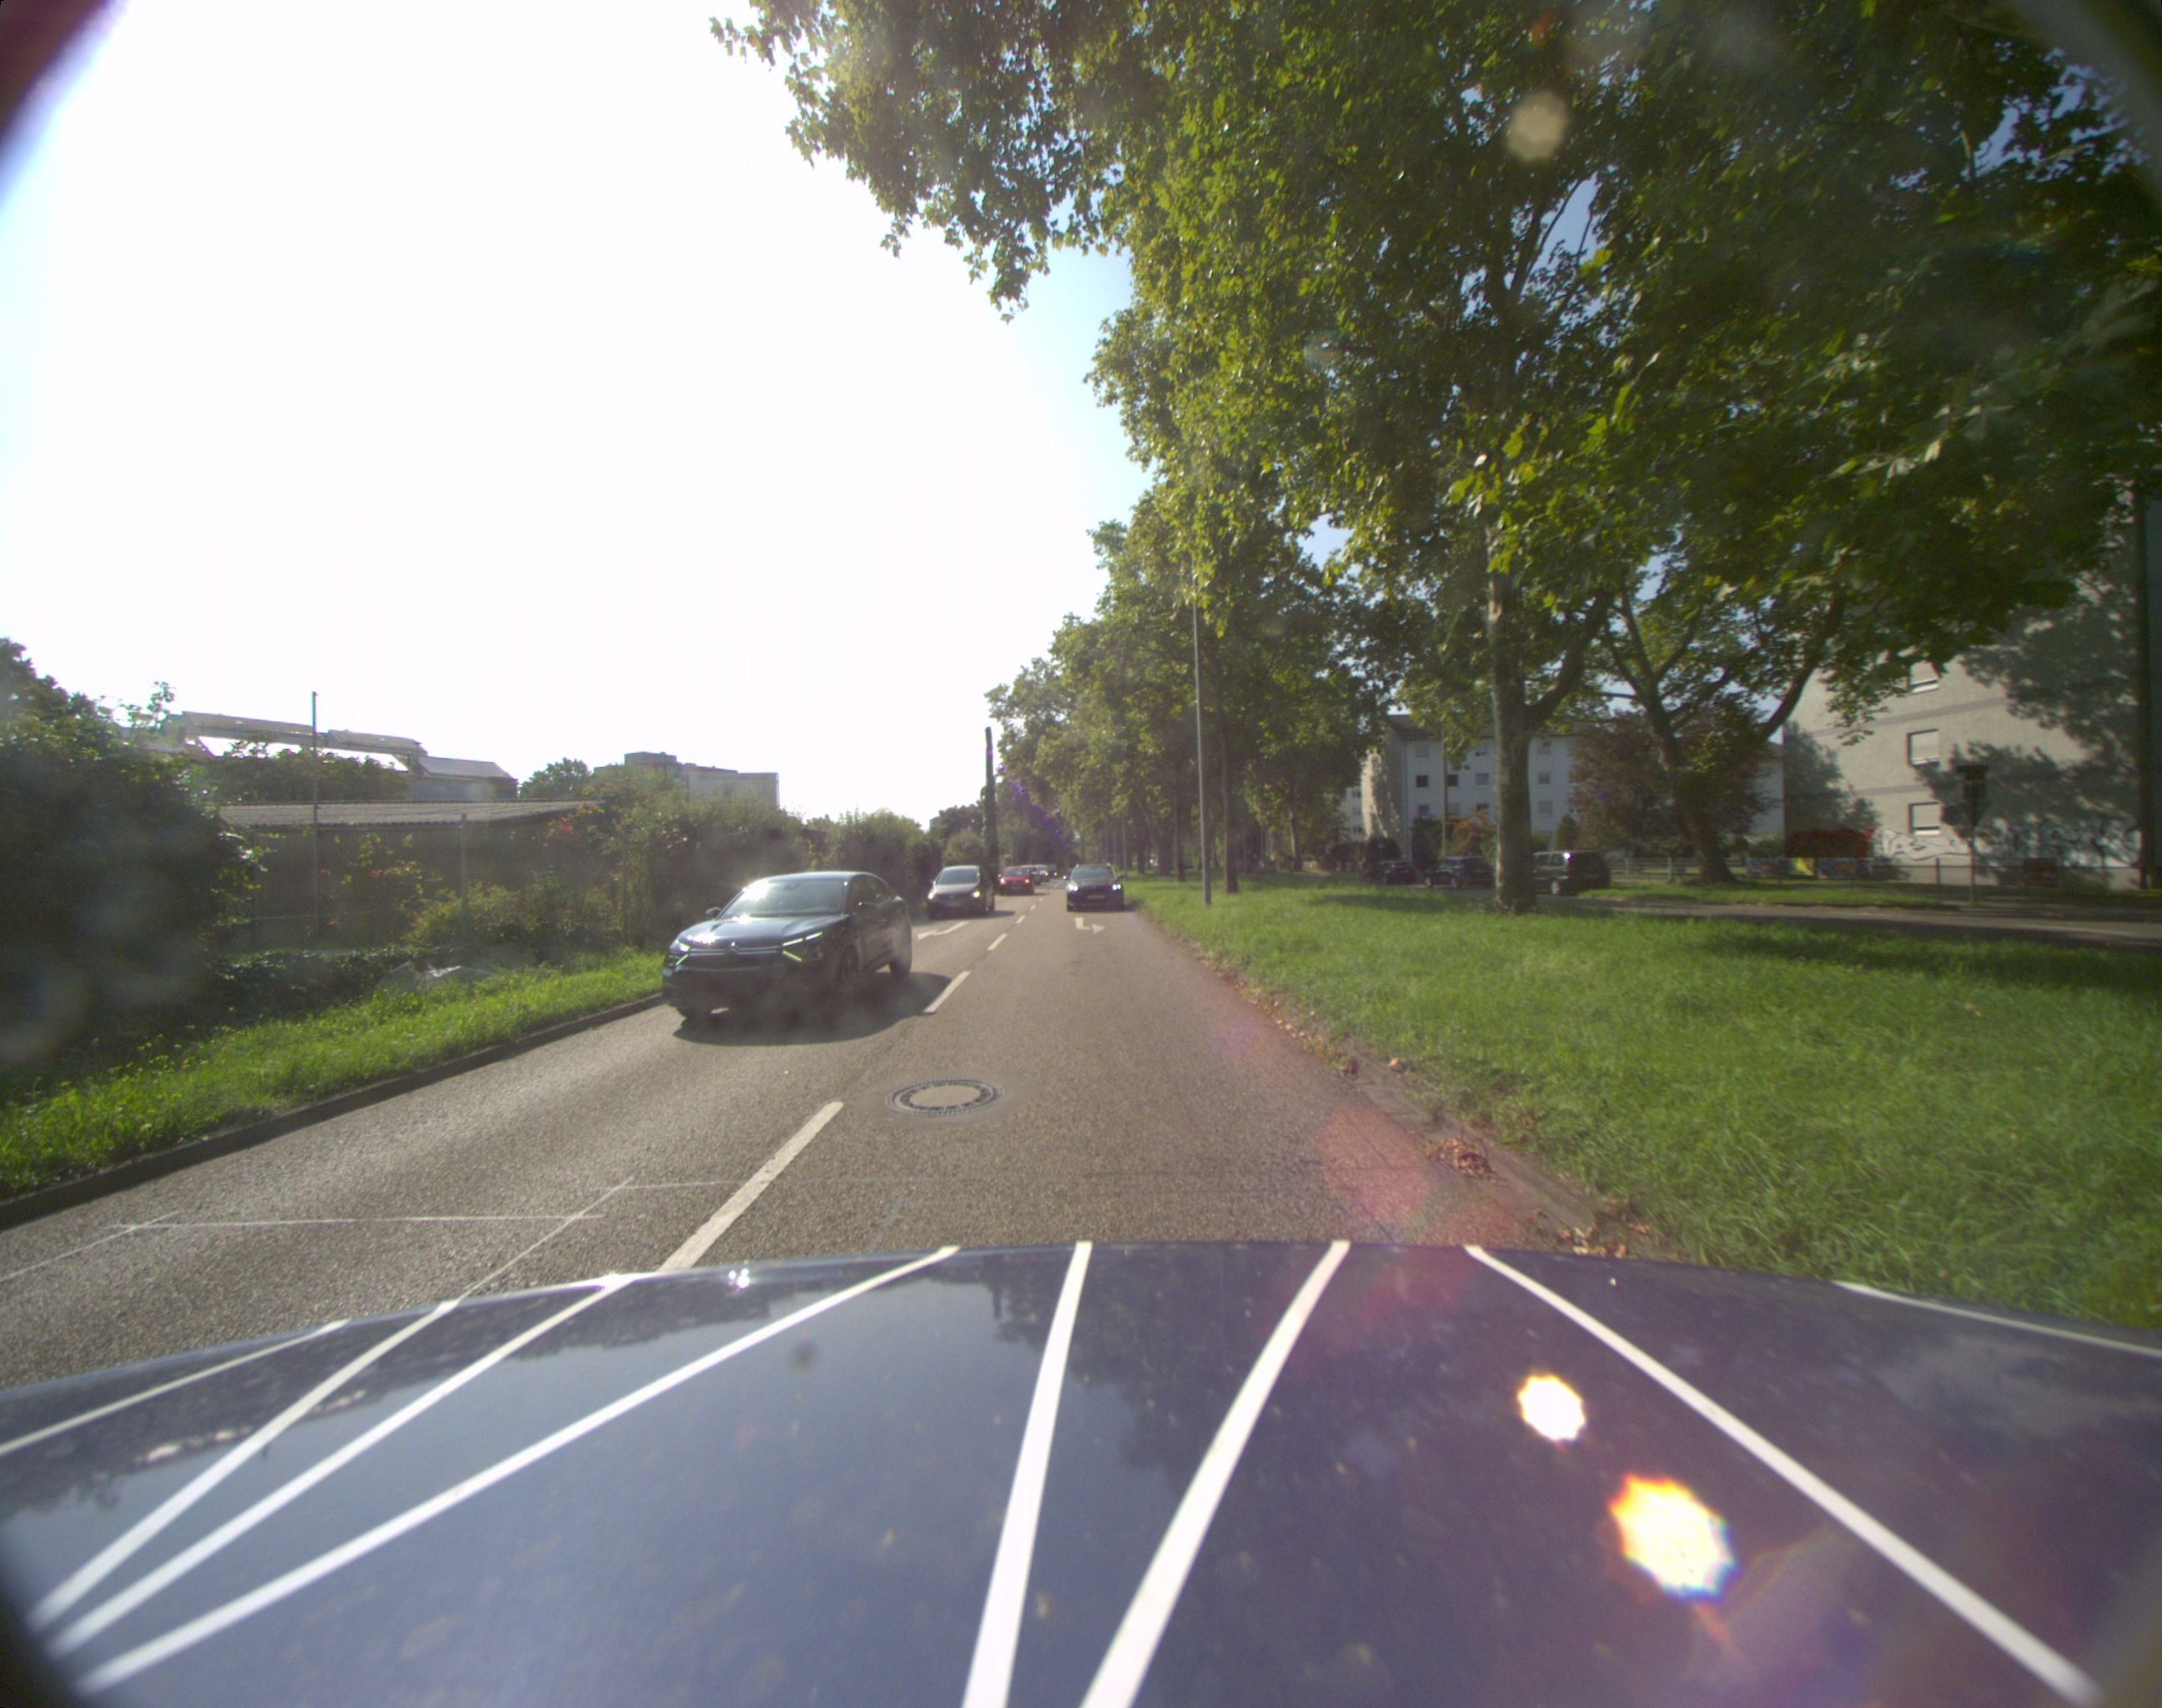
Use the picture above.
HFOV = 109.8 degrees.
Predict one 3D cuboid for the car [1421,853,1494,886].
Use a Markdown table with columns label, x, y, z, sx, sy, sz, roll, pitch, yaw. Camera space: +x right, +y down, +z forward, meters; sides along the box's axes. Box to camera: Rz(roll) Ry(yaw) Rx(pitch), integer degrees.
| label | x | y | z | sx | sy | sz | roll | pitch | yaw |
| --- | --- | --- | --- | --- | --- | --- | --- | --- | --- |
| car | 18.908 | 0.744 | 38.310 | 1.703 | 1.558 | 4.000 | -1 | 0 | 1 |

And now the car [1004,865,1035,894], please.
| label | x | y | z | sx | sy | sz | roll | pitch | yaw |
| --- | --- | --- | --- | --- | --- | --- | --- | --- | --- |
| car | -3.263 | 1.295 | 39.881 | 1.580 | 1.390 | 3.470 | 0 | 0 | -6 |

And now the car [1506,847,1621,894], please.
| label | x | y | z | sx | sy | sz | roll | pitch | yaw |
| --- | --- | --- | --- | --- | --- | --- | --- | --- | --- |
| car | 19.317 | 0.616 | 30.683 | 1.703 | 1.722 | 4.659 | -2 | 0 | 1 |

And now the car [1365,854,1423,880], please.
| label | x | y | z | sx | sy | sz | roll | pitch | yaw |
| --- | --- | --- | --- | --- | --- | --- | --- | --- | --- |
| car | 19.329 | 0.811 | 47.138 | 1.703 | 1.499 | 4.541 | -1 | -1 | 1 |

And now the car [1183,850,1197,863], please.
| label | x | y | z | sx | sy | sz | roll | pitch | yaw |
| --- | --- | --- | --- | --- | --- | --- | --- | --- | --- |
| car | 21.983 | 0.574 | 153.823 | 2.213 | 2.415 | 6.267 | -4 | 0 | 3 |

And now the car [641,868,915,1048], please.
| label | x | y | z | sx | sy | sz | roll | pitch | yaw |
| --- | --- | --- | --- | --- | --- | --- | --- | --- | --- |
| car | -3.298 | 1.015 | 9.238 | 1.649 | 1.579 | 4.254 | -1 | 0 | -1 |

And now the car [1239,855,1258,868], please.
| label | x | y | z | sx | sy | sz | roll | pitch | yaw |
| --- | --- | --- | --- | --- | --- | --- | --- | --- | --- |
| car | 20.155 | 0.877 | 91.547 | 1.542 | 1.443 | 4.064 | -2 | 0 | 2 |

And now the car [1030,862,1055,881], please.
| label | x | y | z | sx | sy | sz | roll | pitch | yaw |
| --- | --- | --- | --- | --- | --- | --- | --- | --- | --- |
| car | -3.365 | 1.530 | 66.862 | 1.648 | 1.467 | 3.900 | -2 | 0 | 5 |

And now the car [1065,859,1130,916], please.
| label | x | y | z | sx | sy | sz | roll | pitch | yaw |
| --- | --- | --- | --- | --- | --- | --- | --- | --- | --- |
| car | 0.466 | 1.005 | 24.154 | 1.863 | 1.571 | 3.612 | -3 | -1 | -1 |

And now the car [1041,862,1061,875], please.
| label | x | y | z | sx | sy | sz | roll | pitch | yaw |
| --- | --- | --- | --- | --- | --- | --- | --- | --- | --- |
| car | -3.382 | 1.604 | 85.557 | 1.648 | 1.378 | 3.900 | -2 | 0 | 5 |

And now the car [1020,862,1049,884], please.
| label | x | y | z | sx | sy | sz | roll | pitch | yaw |
| --- | --- | --- | --- | --- | --- | --- | --- | --- | --- |
| car | -3.505 | 1.430 | 57.792 | 1.649 | 1.467 | 3.900 | -2 | 0 | 4 |

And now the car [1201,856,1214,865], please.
| label | x | y | z | sx | sy | sz | roll | pitch | yaw |
| --- | --- | --- | --- | --- | --- | --- | --- | --- | --- |
| car | 21.171 | 1.111 | 127.445 | 1.526 | 1.524 | 3.863 | -1 | 0 | 1 |

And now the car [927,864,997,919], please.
| label | x | y | z | sx | sy | sz | roll | pitch | yaw |
| --- | --- | --- | --- | --- | --- | --- | --- | --- | --- |
| car | -3.742 | 1.147 | 24.411 | 1.649 | 1.547 | 3.898 | -1 | 0 | -1 |

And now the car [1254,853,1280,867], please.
| label | x | y | z | sx | sy | sz | roll | pitch | yaw |
| --- | --- | --- | --- | --- | --- | --- | --- | --- | --- |
| car | 19.499 | 0.646 | 79.912 | 1.806 | 1.421 | 4.065 | -2 | 0 | 2 |
